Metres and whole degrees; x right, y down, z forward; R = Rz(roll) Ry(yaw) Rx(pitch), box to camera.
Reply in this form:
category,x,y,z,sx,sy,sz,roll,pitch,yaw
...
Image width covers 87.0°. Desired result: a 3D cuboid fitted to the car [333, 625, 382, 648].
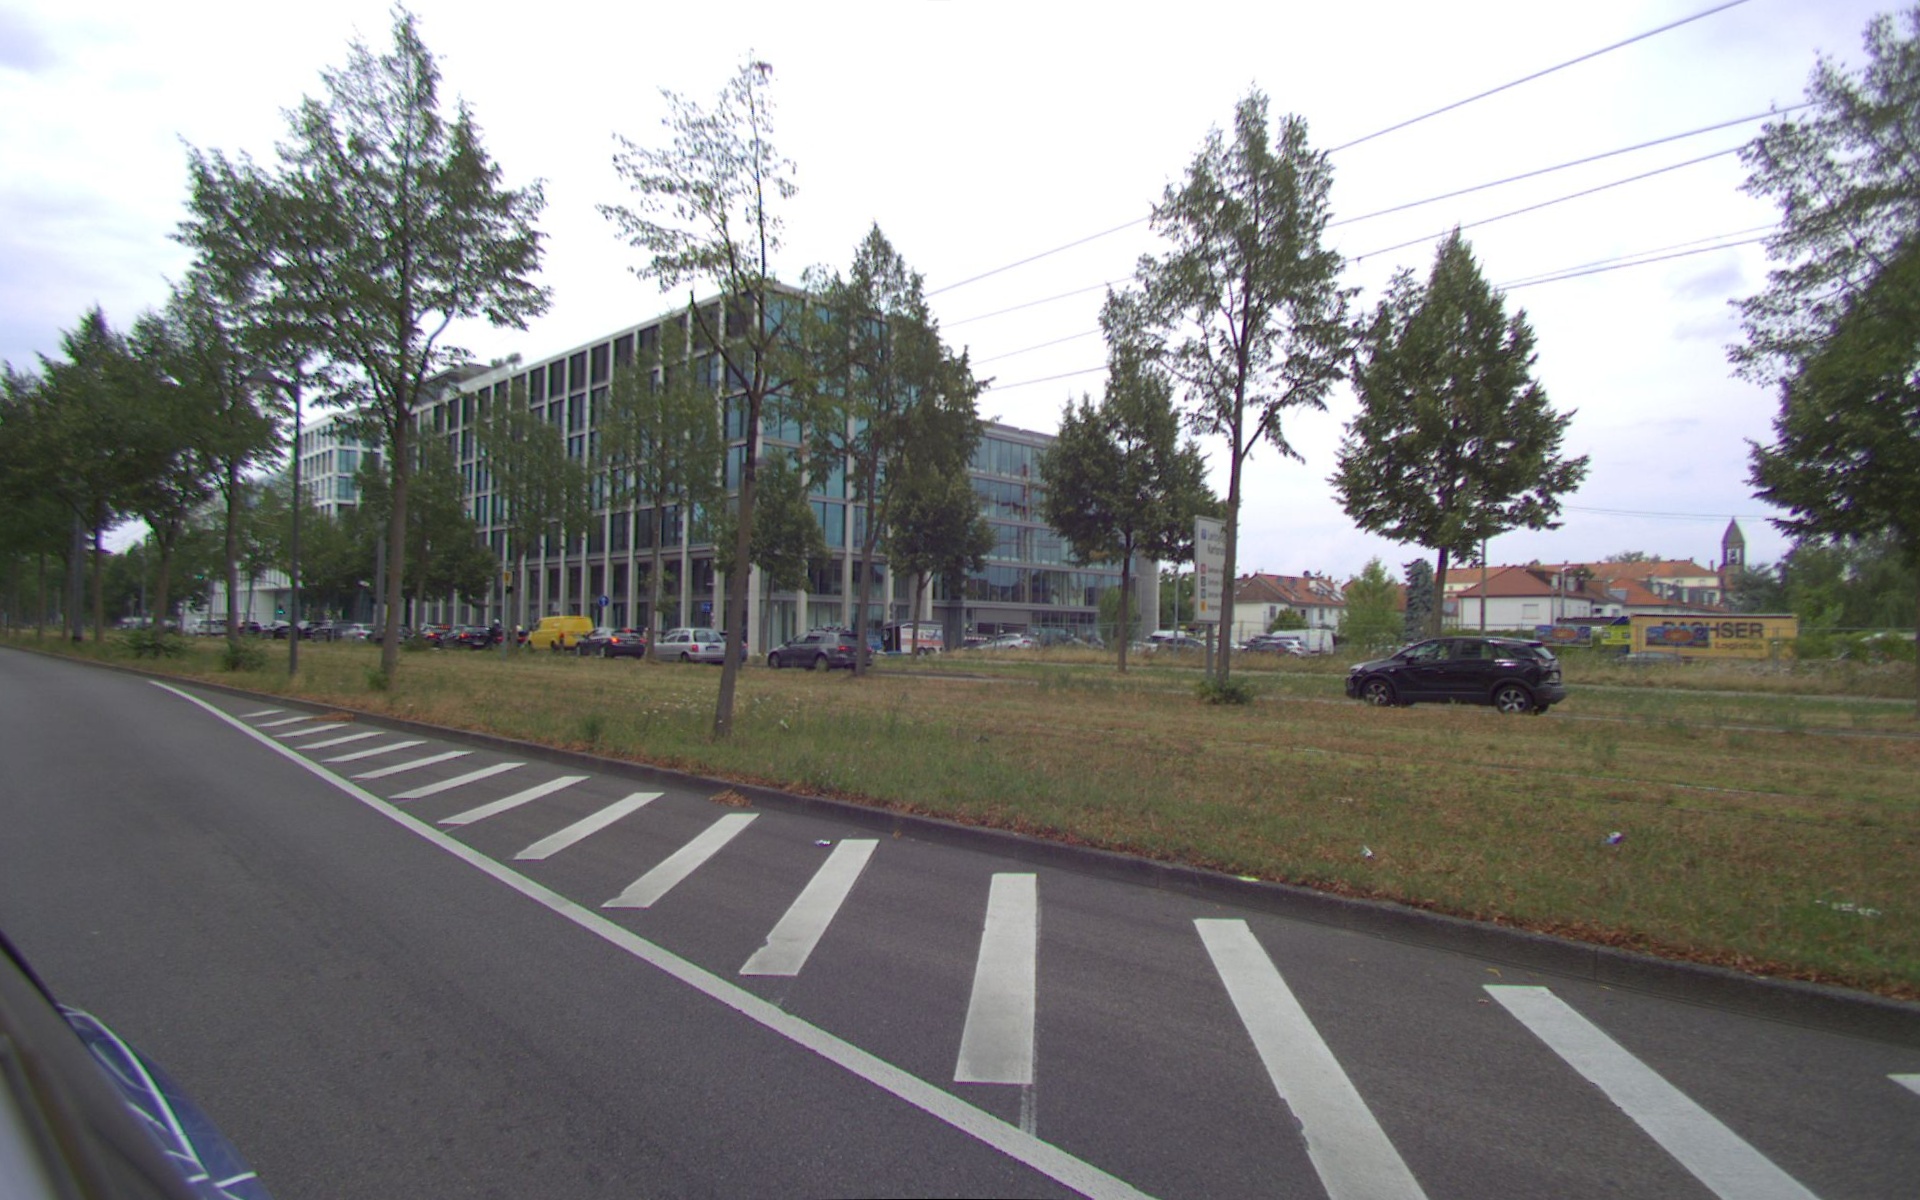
category,x,y,z,sx,sy,sz,roll,pitch,yaw
car,-39.690,2.422,66.648,3.865,1.468,1.729,-1,-3,44

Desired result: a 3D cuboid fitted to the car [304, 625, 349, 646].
category,x,y,z,sx,sy,sz,roll,pitch,yaw
car,-44.194,2.465,70.541,3.865,1.468,1.729,-1,-3,44

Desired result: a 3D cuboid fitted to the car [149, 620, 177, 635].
category,x,y,z,sx,sy,sz,roll,pitch,yaw
car,-83.549,2.885,106.125,3.865,1.468,1.729,-1,-3,44

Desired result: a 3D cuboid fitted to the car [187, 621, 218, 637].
category,x,y,z,sx,sy,sz,roll,pitch,yaw
car,-72.709,2.797,97.150,3.865,1.468,1.729,-1,-3,44

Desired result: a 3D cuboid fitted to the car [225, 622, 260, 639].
category,x,y,z,sx,sy,sz,roll,pitch,yaw
car,-63.044,2.684,88.883,3.865,1.468,1.729,-1,-3,44

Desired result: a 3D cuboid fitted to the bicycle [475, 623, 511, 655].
category,x,y,z,sx,sy,sz,roll,pitch,yaw
bicycle,-23.020,1.912,49.837,2.356,1.499,0.701,-2,-1,41

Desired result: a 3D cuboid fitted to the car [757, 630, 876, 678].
category,x,y,z,sx,sy,sz,roll,pitch,yaw
car,-5.091,1.861,35.576,4.276,1.541,1.730,-1,-3,40

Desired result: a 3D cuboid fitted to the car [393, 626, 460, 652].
category,x,y,z,sx,sy,sz,roll,pitch,yaw
car,-29.811,2.169,56.525,3.998,1.429,1.972,-1,-3,41

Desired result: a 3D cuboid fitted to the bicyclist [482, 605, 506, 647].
category,x,y,z,sx,sy,sz,roll,pitch,yaw
bicyclist,-22.925,1.259,49.805,0.994,2.029,0.733,-1,0,40

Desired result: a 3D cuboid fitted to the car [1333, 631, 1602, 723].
category,x,y,z,sx,sy,sz,roll,pitch,yaw
car,10.371,1.496,20.905,4.688,1.669,1.809,-1,-3,40

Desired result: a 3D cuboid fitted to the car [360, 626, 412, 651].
category,x,y,z,sx,sy,sz,roll,pitch,yaw
car,-35.358,2.381,62.323,3.865,1.468,1.729,-1,-3,44

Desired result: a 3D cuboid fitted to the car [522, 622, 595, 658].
category,x,y,z,sx,sy,sz,roll,pitch,yaw
car,-20.763,2.059,52.281,1.929,1.785,4.447,2,-3,-44

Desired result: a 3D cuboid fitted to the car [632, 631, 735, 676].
category,x,y,z,sx,sy,sz,roll,pitch,yaw
car,-9.858,1.867,36.002,3.864,1.508,1.729,-1,-3,42

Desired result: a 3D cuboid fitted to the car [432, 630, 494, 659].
category,x,y,z,sx,sy,sz,roll,pitch,yaw
car,-25.931,2.291,52.748,3.866,1.468,1.728,-1,-3,45

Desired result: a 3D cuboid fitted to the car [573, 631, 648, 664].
category,x,y,z,sx,sy,sz,roll,pitch,yaw
car,-16.134,2.167,46.656,3.866,1.468,1.729,-1,-3,44

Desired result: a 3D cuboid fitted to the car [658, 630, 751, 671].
category,x,y,z,sx,sy,sz,roll,pitch,yaw
car,-10.189,1.969,40.218,3.864,1.508,1.729,-1,-3,42

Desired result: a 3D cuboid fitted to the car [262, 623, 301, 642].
category,x,y,z,sx,sy,sz,roll,pitch,yaw
car,-53.500,2.575,79.796,3.865,1.468,1.729,-1,-3,44
